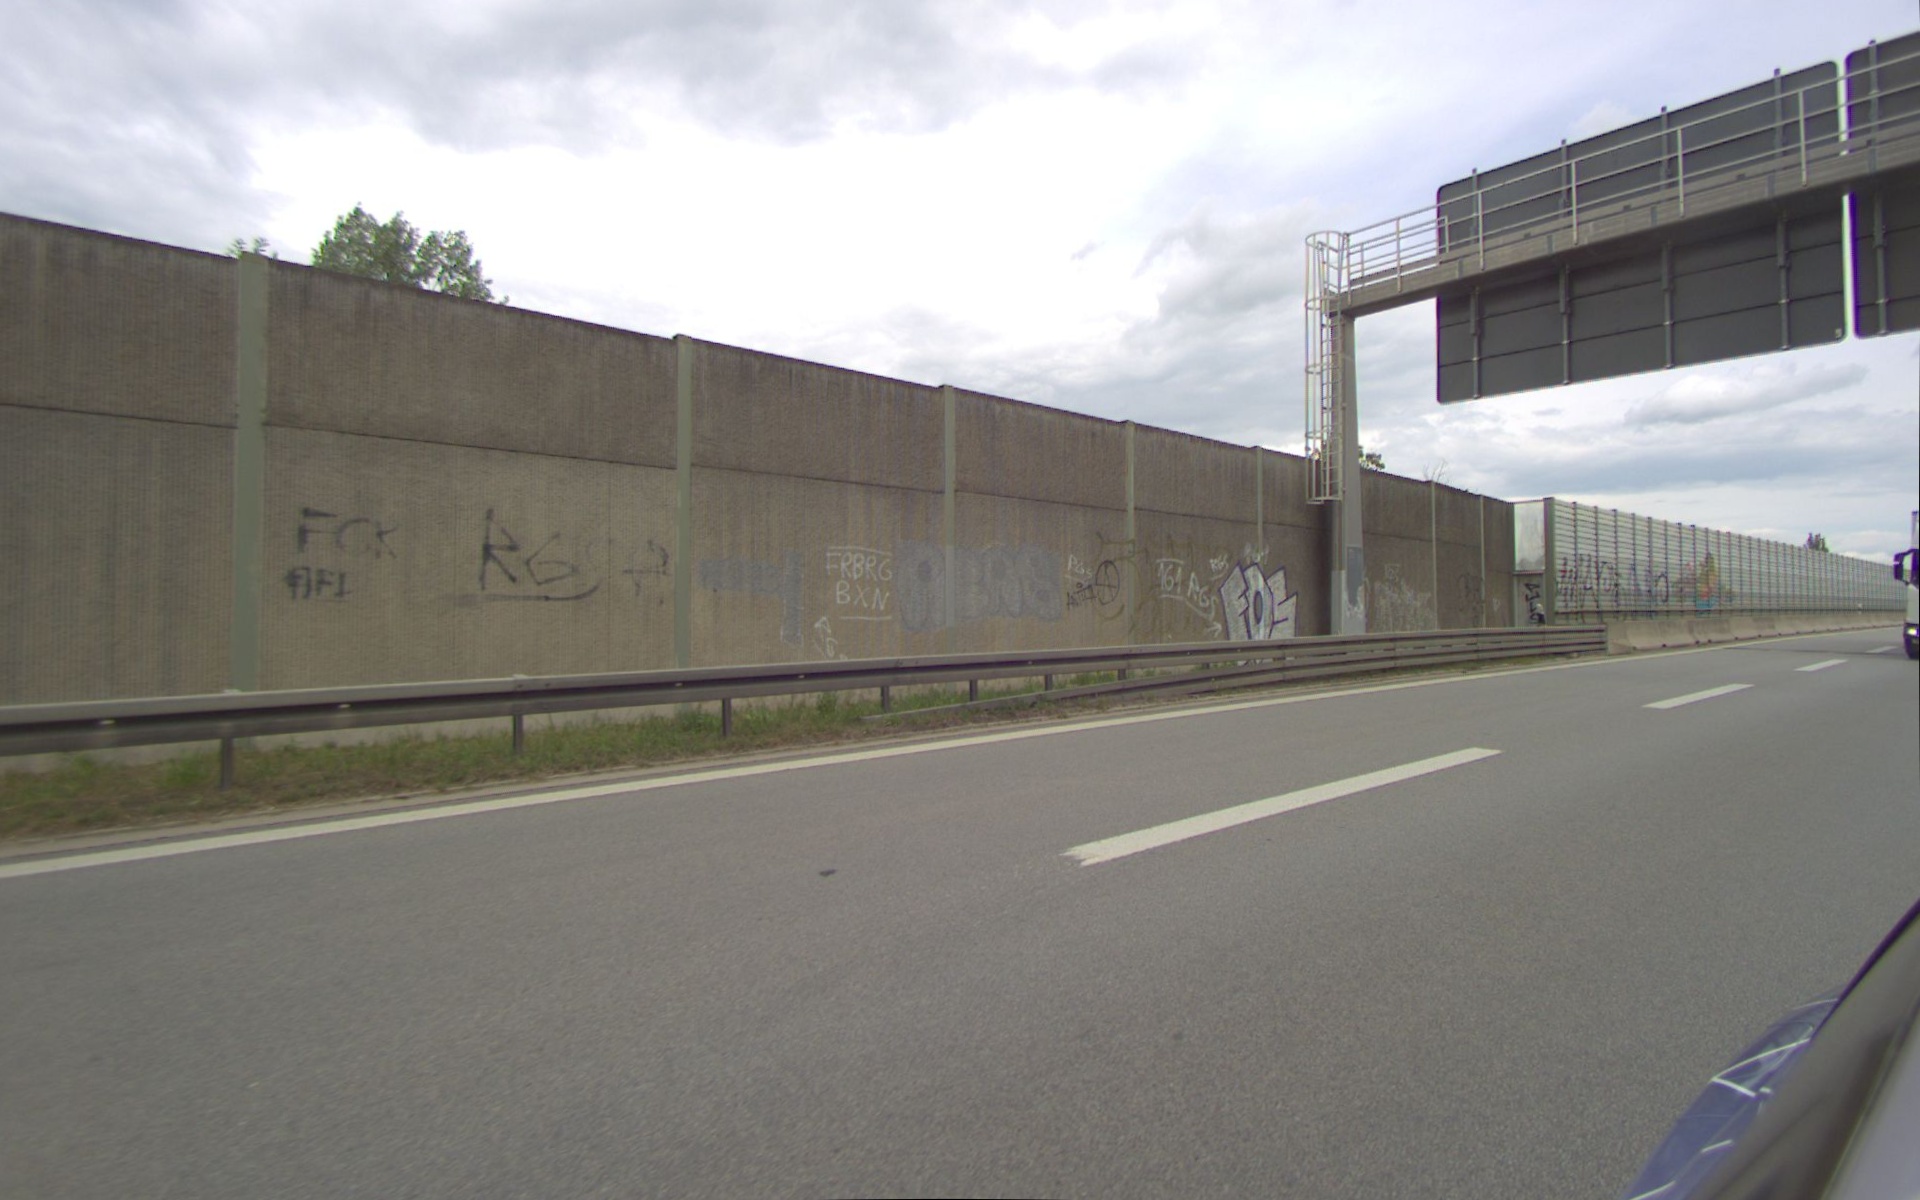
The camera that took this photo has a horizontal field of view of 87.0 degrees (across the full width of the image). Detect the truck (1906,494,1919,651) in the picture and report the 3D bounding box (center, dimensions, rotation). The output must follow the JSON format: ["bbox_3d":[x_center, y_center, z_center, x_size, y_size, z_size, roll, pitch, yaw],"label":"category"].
[{"bbox_3d":[27.315,-0.660,26.720,5.575,4.010,2.762,1,-1,-40],"label":"truck"}]
